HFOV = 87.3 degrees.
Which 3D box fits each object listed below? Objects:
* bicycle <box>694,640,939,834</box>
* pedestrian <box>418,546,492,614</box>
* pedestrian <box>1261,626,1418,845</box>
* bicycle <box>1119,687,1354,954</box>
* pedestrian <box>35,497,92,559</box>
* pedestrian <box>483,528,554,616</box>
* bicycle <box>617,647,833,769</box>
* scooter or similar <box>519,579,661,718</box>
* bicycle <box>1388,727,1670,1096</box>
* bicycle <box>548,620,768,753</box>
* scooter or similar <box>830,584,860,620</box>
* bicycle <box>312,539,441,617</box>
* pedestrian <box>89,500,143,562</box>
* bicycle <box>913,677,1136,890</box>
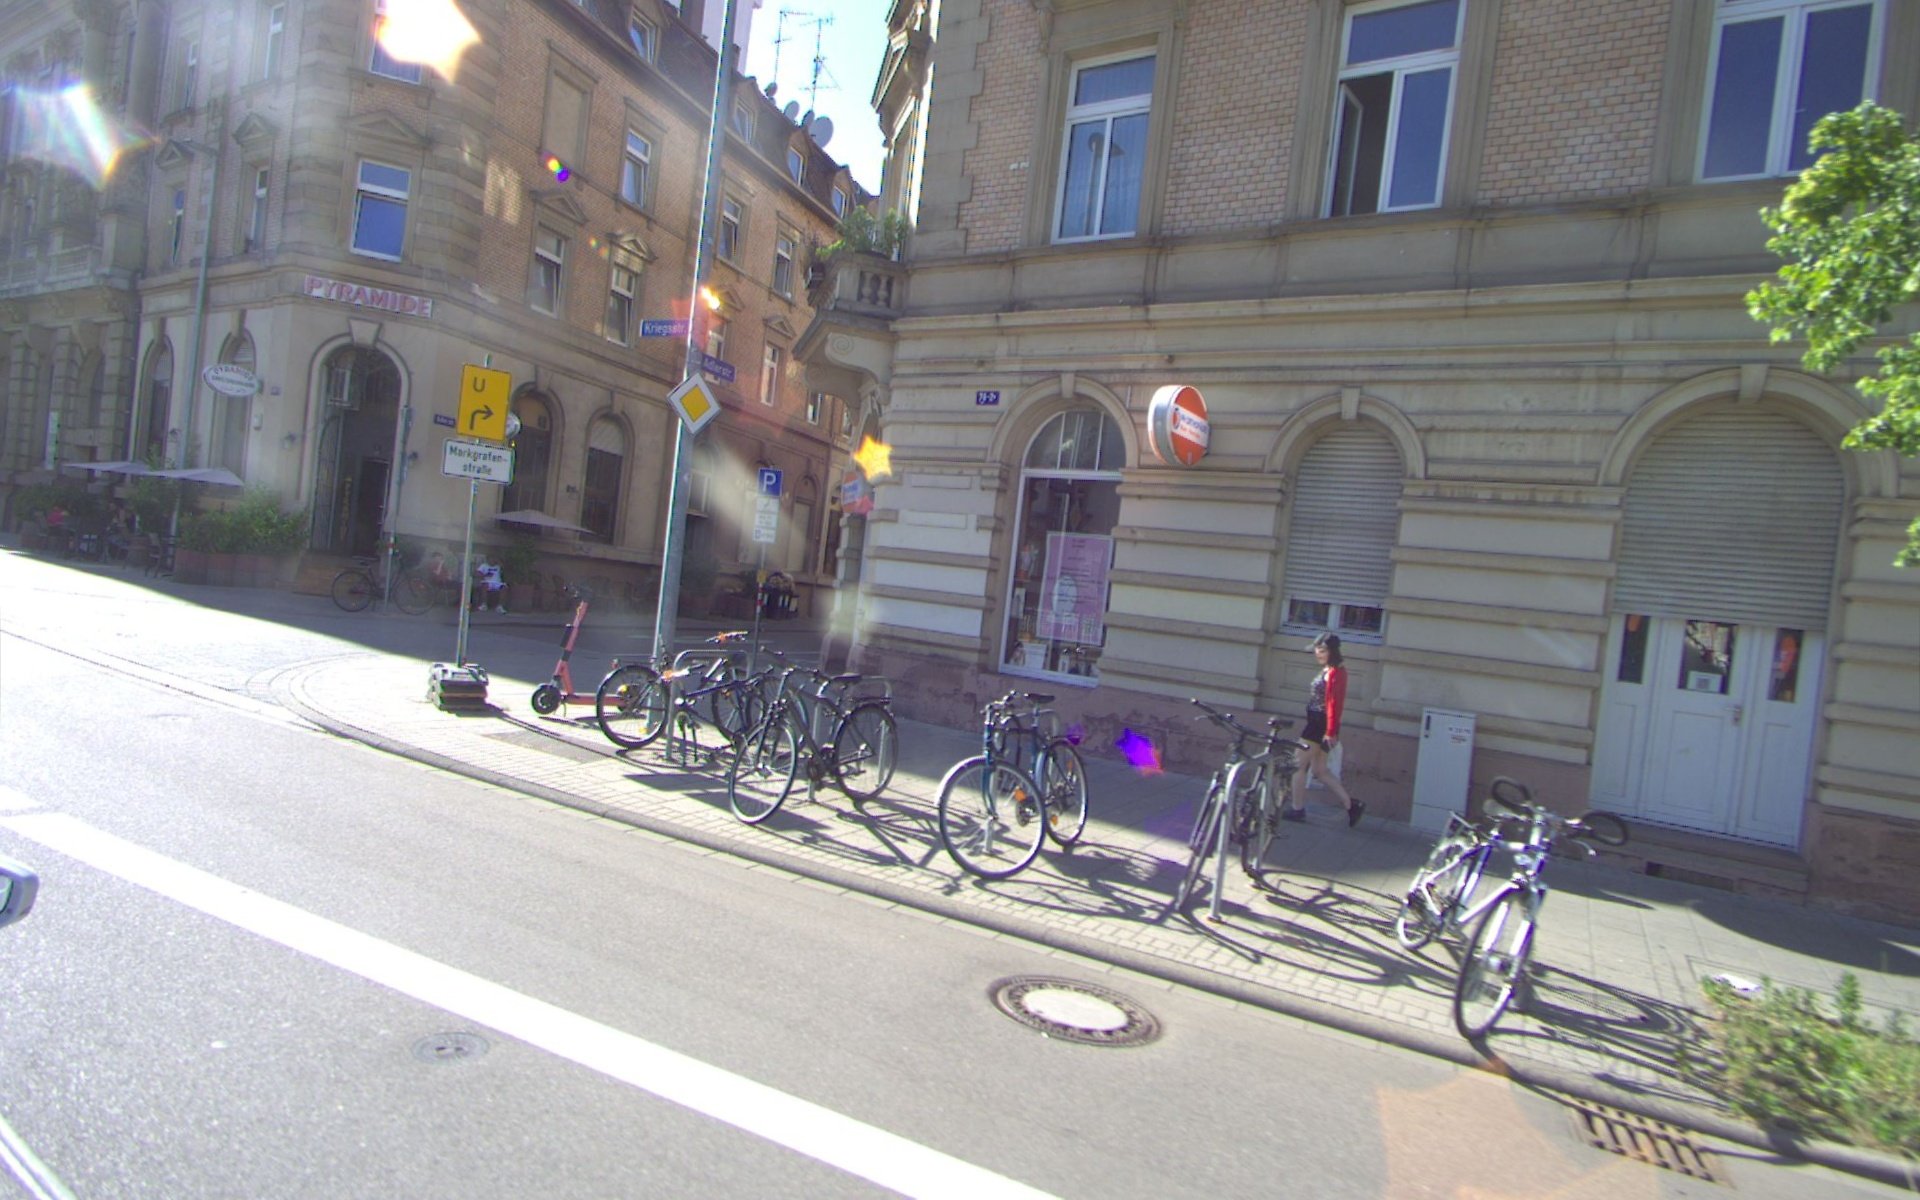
[{"bbox_3d":[-0.942,0.874,7.027,0.597,1.115,1.722,8,3,34],"label":"bicycle"},{"bbox_3d":[-10.334,-0.407,20.602,0.917,1.229,0.852,7,0,24],"label":"pedestrian"},{"bbox_3d":[3.067,1.053,8.119,0.911,1.561,0.710,7,1,31],"label":"pedestrian"},{"bbox_3d":[1.733,1.192,6.037,0.698,1.143,1.994,8,3,32],"label":"bicycle"},{"bbox_3d":[-19.047,-1.523,21.365,0.624,1.194,0.706,7,3,31],"label":"pedestrian"},{"bbox_3d":[-9.695,-0.599,22.088,0.852,1.782,0.909,7,0,24],"label":"pedestrian"},{"bbox_3d":[-1.888,0.856,8.284,0.597,0.832,1.668,8,2,38],"label":"bicycle"},{"bbox_3d":[-3.486,0.468,9.525,0.413,1.205,1.110,8,2,38],"label":"scooter or similar"},{"bbox_3d":[2.668,1.352,4.995,0.832,1.107,1.998,7,3,22],"label":"bicycle"},{"bbox_3d":[-2.506,0.715,8.505,0.597,0.956,1.668,8,2,38],"label":"bicycle"},{"bbox_3d":[-4.271,0.086,37.467,0.344,1.237,1.526,7,1,19],"label":"scooter or similar"},{"bbox_3d":[-10.573,-0.378,18.277,0.643,1.186,1.818,12,3,35],"label":"bicycle"},{"bbox_3d":[-18.607,-1.511,22.175,0.624,1.253,0.706,7,3,31],"label":"pedestrian"},{"bbox_3d":[0.463,1.087,6.423,0.597,1.060,1.598,8,3,34],"label":"bicycle"}]
